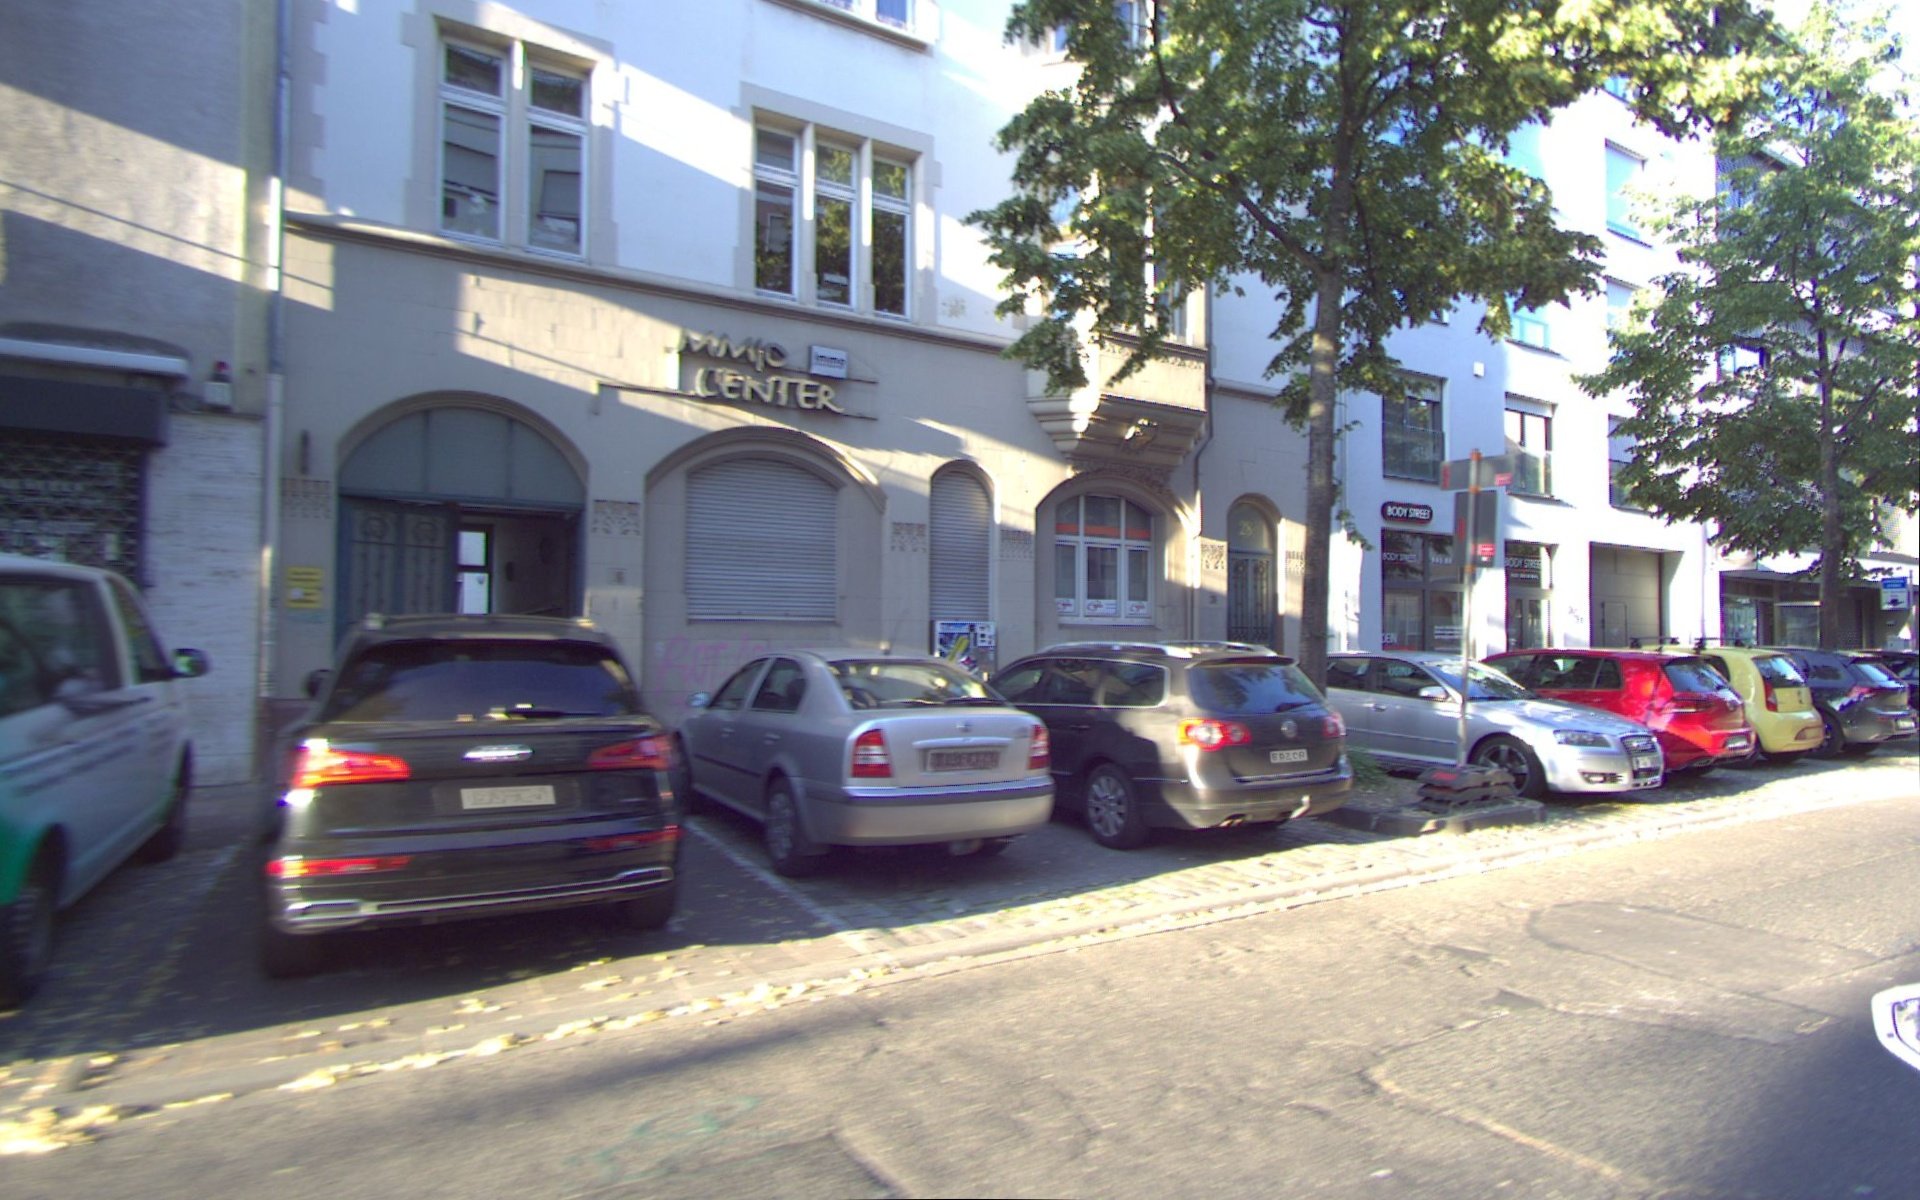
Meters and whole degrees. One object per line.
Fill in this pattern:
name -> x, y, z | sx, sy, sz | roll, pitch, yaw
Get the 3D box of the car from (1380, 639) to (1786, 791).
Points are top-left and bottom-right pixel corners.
car -> 7.305, 1.236, 12.169 | 1.725, 1.476, 3.846 | 1, -2, -31

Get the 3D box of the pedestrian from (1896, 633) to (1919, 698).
pedestrian -> 24.464, 1.661, 25.501 | 1.081, 1.624, 0.716 | 1, 0, -30

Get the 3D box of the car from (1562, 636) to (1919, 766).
car -> 11.205, 1.342, 14.634 | 1.725, 1.588, 3.846 | 1, -2, -31

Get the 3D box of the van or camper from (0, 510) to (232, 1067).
van or camper -> -5.180, 0.719, 5.068 | 1.767, 1.982, 4.442 | 1, -2, -28

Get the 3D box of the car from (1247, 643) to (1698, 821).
car -> 5.240, 1.221, 10.798 | 1.725, 1.405, 4.017 | 1, -1, -33

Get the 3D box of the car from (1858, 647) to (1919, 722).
car -> 20.960, 1.735, 20.009 | 1.723, 1.503, 4.256 | 1, -2, -29

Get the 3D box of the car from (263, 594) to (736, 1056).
car -> -2.721, 0.916, 5.956 | 1.710, 1.690, 4.168 | 2, -3, -27

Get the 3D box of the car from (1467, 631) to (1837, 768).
car -> 9.303, 1.234, 13.825 | 1.725, 1.588, 3.846 | 1, -2, -31

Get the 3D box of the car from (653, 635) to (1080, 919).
car -> -1.011, 1.059, 7.731 | 1.712, 1.461, 4.164 | 2, -2, -29

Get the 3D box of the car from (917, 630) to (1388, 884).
car -> 1.347, 1.092, 8.701 | 1.723, 1.557, 4.164 | 2, -2, -29

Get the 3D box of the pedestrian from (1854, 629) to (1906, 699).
pedestrian -> 24.068, 1.652, 26.274 | 0.922, 1.773, 0.716 | 1, 0, -30

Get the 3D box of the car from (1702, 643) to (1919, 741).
car -> 15.376, 1.501, 16.967 | 1.725, 1.503, 4.252 | 1, -2, -31
